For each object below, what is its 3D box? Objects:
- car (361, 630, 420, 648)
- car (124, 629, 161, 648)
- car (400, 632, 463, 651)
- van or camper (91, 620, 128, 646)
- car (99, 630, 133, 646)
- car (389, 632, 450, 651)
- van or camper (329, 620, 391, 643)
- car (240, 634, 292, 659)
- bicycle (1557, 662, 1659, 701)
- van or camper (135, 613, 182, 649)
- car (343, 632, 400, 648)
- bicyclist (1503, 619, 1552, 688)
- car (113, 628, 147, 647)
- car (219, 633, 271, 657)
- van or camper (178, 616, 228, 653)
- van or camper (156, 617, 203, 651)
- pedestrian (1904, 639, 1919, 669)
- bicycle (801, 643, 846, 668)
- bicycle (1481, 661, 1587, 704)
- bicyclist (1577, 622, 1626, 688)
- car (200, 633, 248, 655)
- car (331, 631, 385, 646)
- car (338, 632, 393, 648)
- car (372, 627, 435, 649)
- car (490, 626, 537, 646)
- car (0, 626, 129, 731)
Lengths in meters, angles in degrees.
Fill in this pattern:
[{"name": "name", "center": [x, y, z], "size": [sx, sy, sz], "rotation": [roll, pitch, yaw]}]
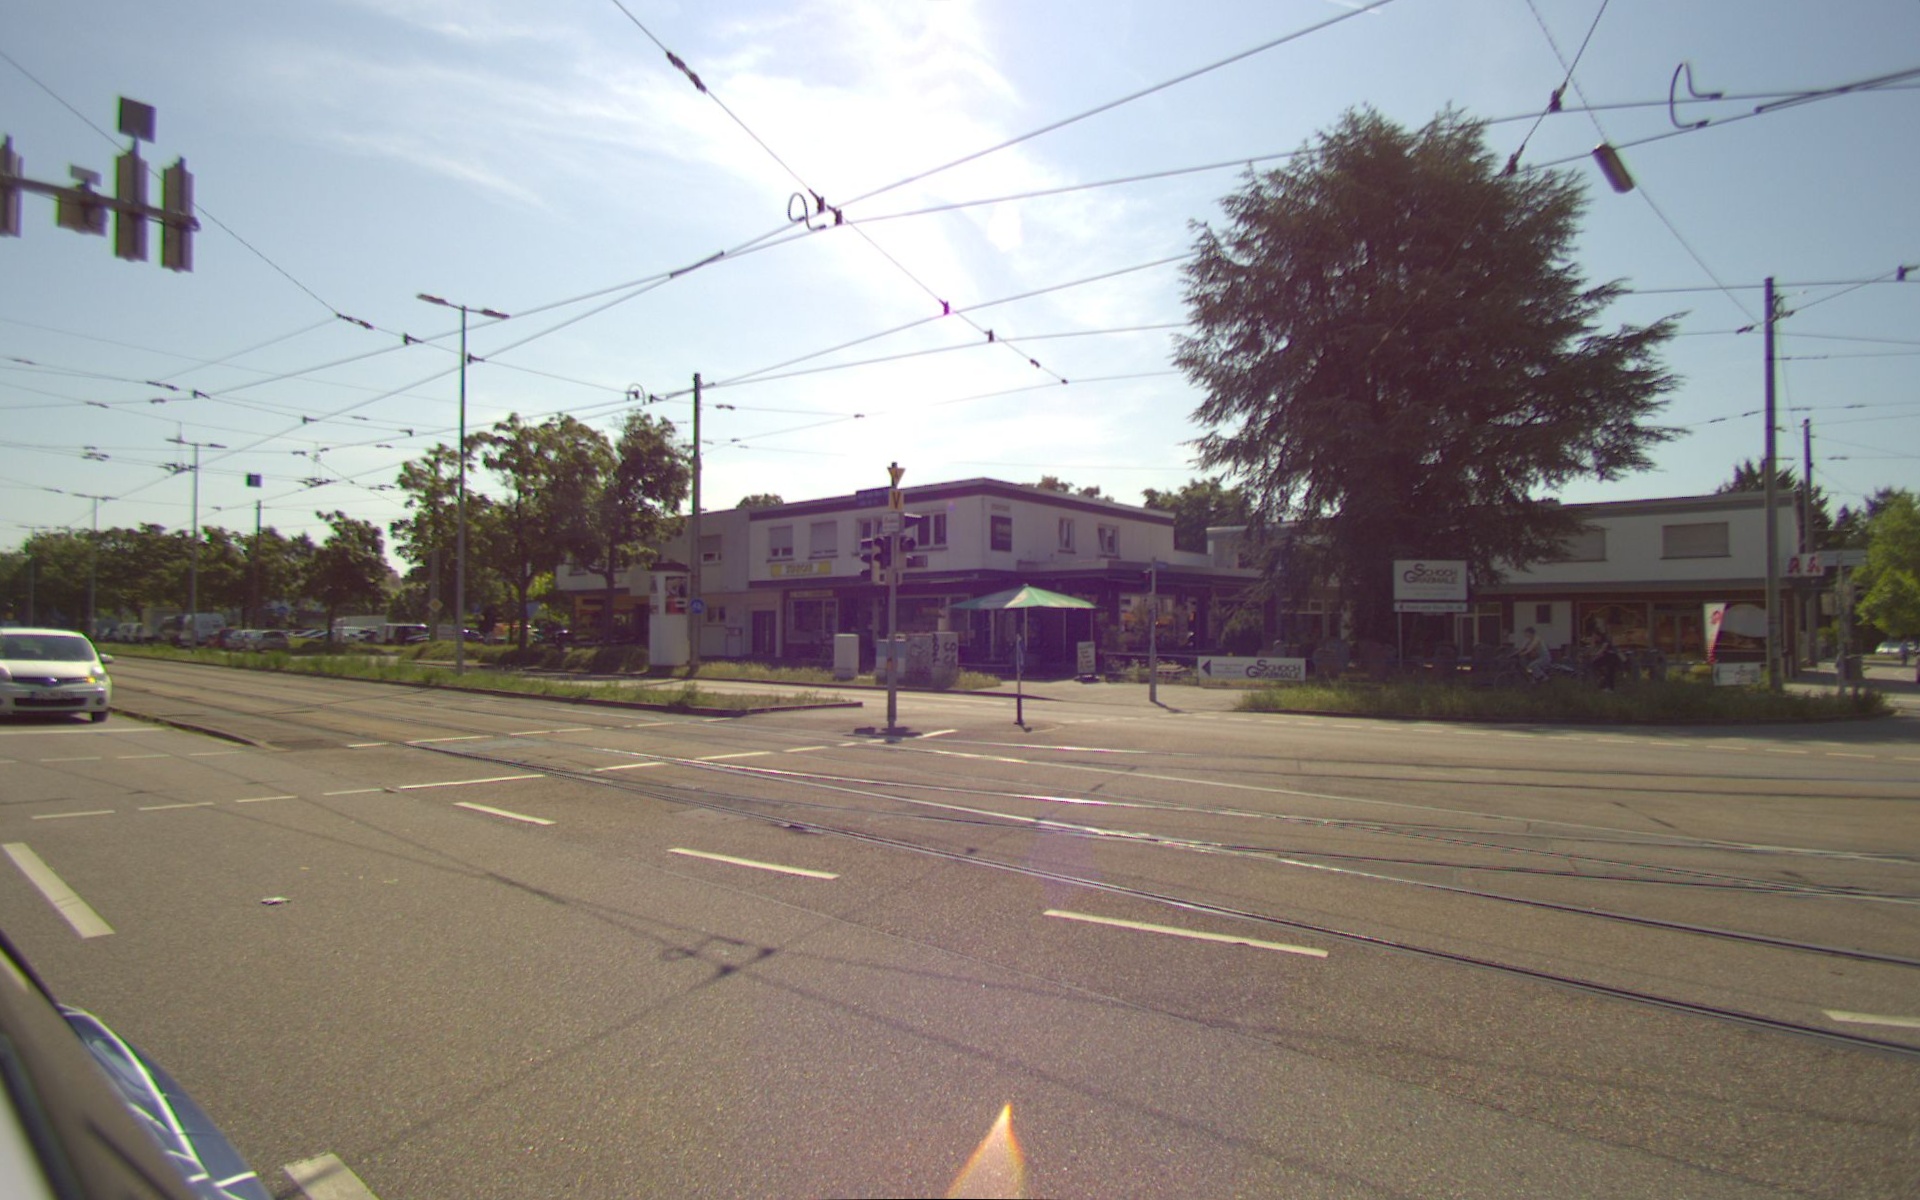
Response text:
[{"name": "car", "center": [-43.769, 3.000, 77.796], "size": [1.711, 1.294, 3.578], "rotation": [-2, -3, 40]}, {"name": "car", "center": [-74.266, 3.478, 91.908], "size": [4.230, 1.748, 1.868], "rotation": [-2, -3, 41]}, {"name": "car", "center": [-38.040, 2.996, 72.899], "size": [1.711, 1.372, 3.578], "rotation": [-2, -3, 40]}, {"name": "van or camper", "center": [-88.548, 3.421, 105.282], "size": [5.450, 2.639, 2.086], "rotation": [-1, -4, 42]}, {"name": "car", "center": [-83.664, 3.771, 100.310], "size": [4.230, 1.572, 1.868], "rotation": [-2, -3, 41]}, {"name": "car", "center": [-39.963, 3.046, 74.868], "size": [1.711, 1.372, 3.578], "rotation": [-2, -3, 40]}, {"name": "van or camper", "center": [-72.203, 3.823, 121.844], "size": [2.299, 2.751, 5.999], "rotation": [-2, -3, 43]}, {"name": "car", "center": [-44.917, 2.976, 65.475], "size": [4.285, 1.506, 1.867], "rotation": [-2, 0, 43]}, {"name": "bicycle", "center": [15.723, 1.977, 24.577], "size": [2.105, 0.897, 0.576], "rotation": [0, -2, -2]}, {"name": "van or camper", "center": [-68.086, 2.626, 85.928], "size": [5.279, 3.008, 2.100], "rotation": [-2, -3, 41]}, {"name": "car", "center": [-47.580, 3.246, 81.928], "size": [1.811, 1.291, 3.578], "rotation": [-2, -3, 40]}, {"name": "bicyclist", "center": [13.261, 1.246, 23.660], "size": [0.754, 1.570, 0.632], "rotation": [2, -3, -3]}, {"name": "car", "center": [-79.301, 3.620, 96.684], "size": [4.230, 1.781, 1.868], "rotation": [-2, -3, 41]}, {"name": "car", "center": [-48.663, 3.035, 68.853], "size": [4.283, 1.572, 1.868], "rotation": [-2, -3, 41]}, {"name": "van or camper", "center": [-56.878, 2.591, 76.039], "size": [4.837, 2.652, 2.013], "rotation": [-2, -3, 41]}, {"name": "van or camper", "center": [-62.213, 2.687, 80.652], "size": [4.837, 2.652, 2.013], "rotation": [-2, -3, 41]}, {"name": "pedestrian", "center": [64.321, 3.657, 68.329], "size": [0.767, 1.980, 0.851], "rotation": [-2, -3, 39]}, {"name": "bicycle", "center": [-5.524, 2.240, 40.947], "size": [1.910, 0.991, 0.750], "rotation": [-2, -3, 42]}, {"name": "bicycle", "center": [13.383, 1.919, 23.626], "size": [2.108, 0.954, 0.535], "rotation": [0, -2, 3]}, {"name": "bicyclist", "center": [15.614, 1.336, 24.658], "size": [0.755, 1.587, 0.632], "rotation": [0, -2, 0]}, {"name": "car", "center": [-52.955, 3.132, 72.814], "size": [4.230, 1.506, 1.868], "rotation": [-2, -3, 41]}, {"name": "car", "center": [-51.071, 3.262, 85.924], "size": [1.711, 1.291, 3.578], "rotation": [-2, -3, 40]}, {"name": "car", "center": [-49.283, 3.304, 83.929], "size": [1.711, 1.291, 3.578], "rotation": [-2, -3, 40]}, {"name": "car", "center": [-41.972, 2.886, 76.324], "size": [1.949, 1.581, 3.702], "rotation": [-2, -3, 40]}, {"name": "car", "center": [-40.845, 3.277, 92.576], "size": [1.711, 1.791, 3.578], "rotation": [-2, -3, 40]}, {"name": "car", "center": [-15.618, 1.260, 17.120], "size": [4.066, 1.573, 1.747], "rotation": [-2, -4, 42]}]
